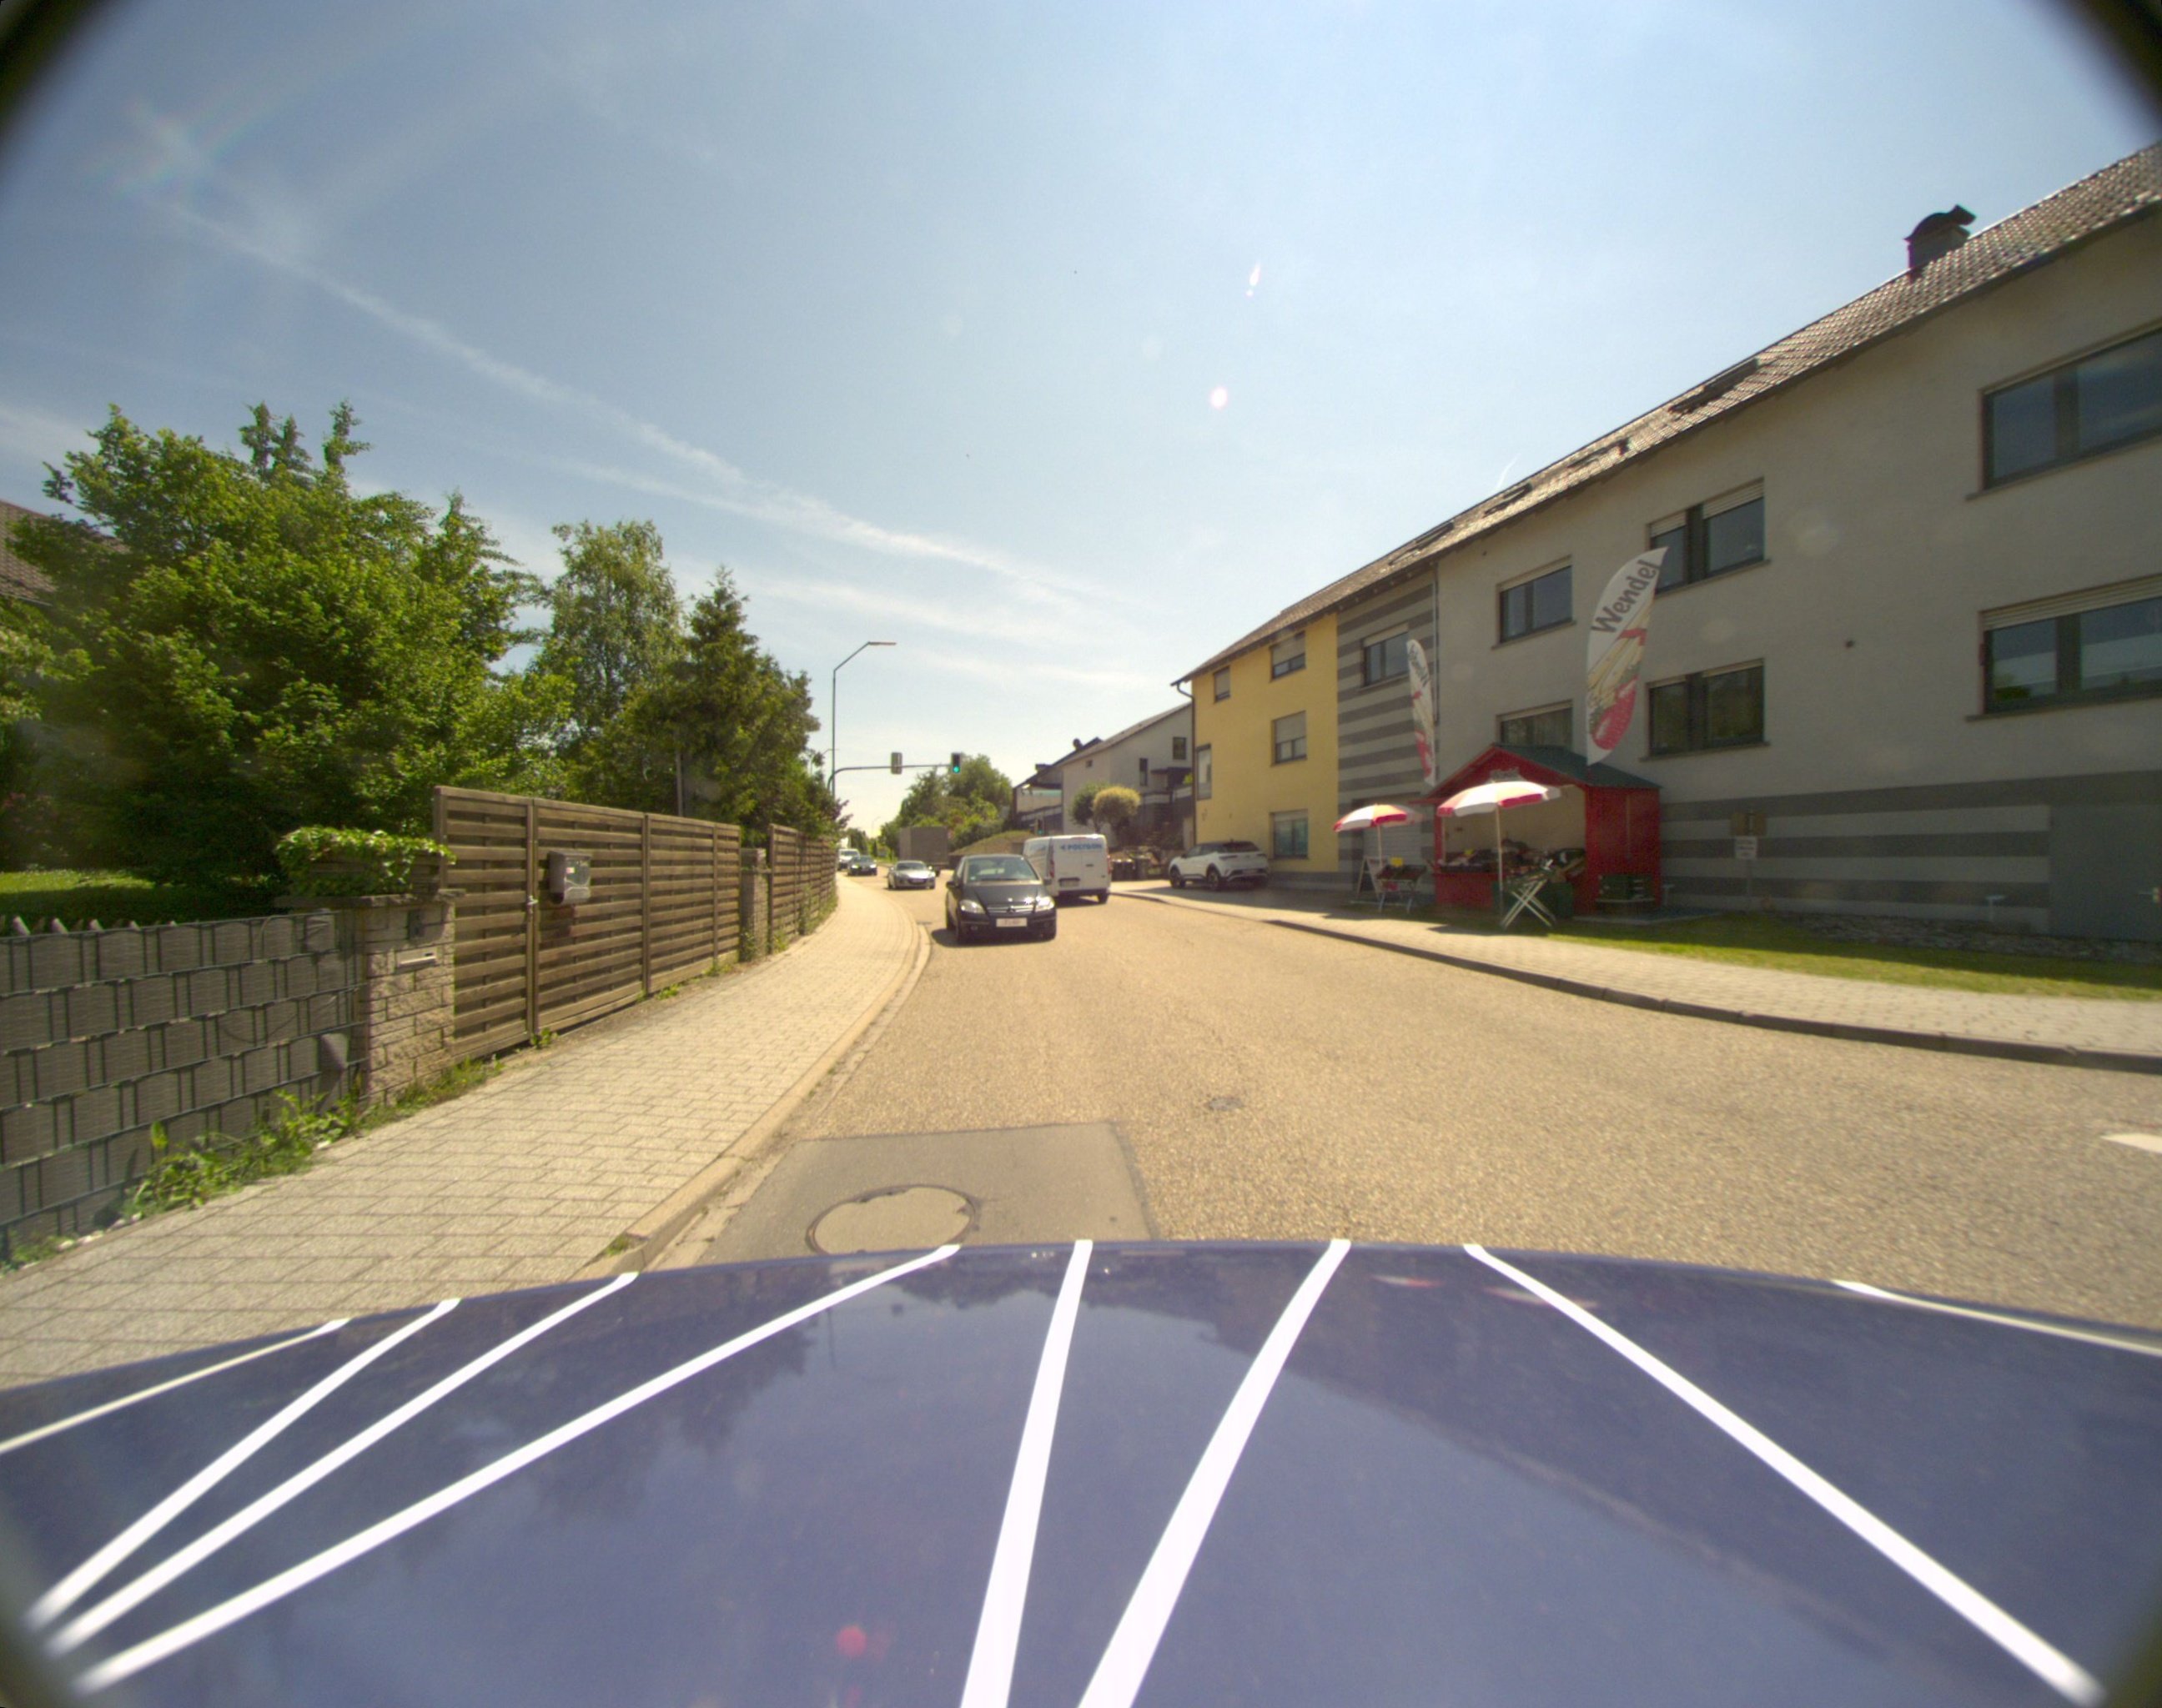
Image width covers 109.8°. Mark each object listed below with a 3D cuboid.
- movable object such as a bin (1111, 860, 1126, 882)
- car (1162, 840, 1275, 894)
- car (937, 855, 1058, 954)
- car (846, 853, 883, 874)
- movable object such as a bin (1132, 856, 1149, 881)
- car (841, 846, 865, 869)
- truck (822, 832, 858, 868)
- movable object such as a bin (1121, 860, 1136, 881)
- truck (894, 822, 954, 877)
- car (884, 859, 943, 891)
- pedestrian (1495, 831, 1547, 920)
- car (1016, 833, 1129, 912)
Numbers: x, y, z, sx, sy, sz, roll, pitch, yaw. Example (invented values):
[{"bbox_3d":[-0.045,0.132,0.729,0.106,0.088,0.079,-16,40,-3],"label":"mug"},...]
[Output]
[{"bbox_3d":[1.617,0.740,33.100,0.449,0.923,0.561,-2,1,-21],"label":"movable object such as a bin"},{"bbox_3d":[4.298,0.373,24.499,1.737,1.543,4.181,-1,1,-19],"label":"car"},{"bbox_3d":[-1.791,0.858,15.073,1.766,1.583,4.192,-2,1,-14],"label":"car"},{"bbox_3d":[-15.127,0.655,52.962,1.900,1.368,3.992,-1,0,-24],"label":"car"},{"bbox_3d":[2.616,0.627,33.415,0.472,1.049,0.633,-2,1,-21],"label":"movable object such as a bin"},{"bbox_3d":[-20.112,0.309,66.973,1.870,1.897,5.028,-2,1,-18],"label":"car"},{"bbox_3d":[-26.284,-0.464,82.590,3.209,3.578,8.291,3,-1,-20],"label":"truck"},{"bbox_3d":[2.089,0.715,33.308,0.449,0.933,0.530,-1,1,-21],"label":"movable object such as a bin"},{"bbox_3d":[-10.740,-0.322,51.330,2.477,3.348,7.602,-4,2,-22],"label":"truck"},{"bbox_3d":[-7.578,0.880,34.082,1.817,1.306,3.992,-1,0,-24],"label":"car"},{"bbox_3d":[8.030,0.375,13.901,0.612,1.578,0.809,-1,1,13],"label":"pedestrian"},{"bbox_3d":[-0.417,0.461,22.696,2.001,1.988,5.206,-3,1,-16],"label":"car"}]
